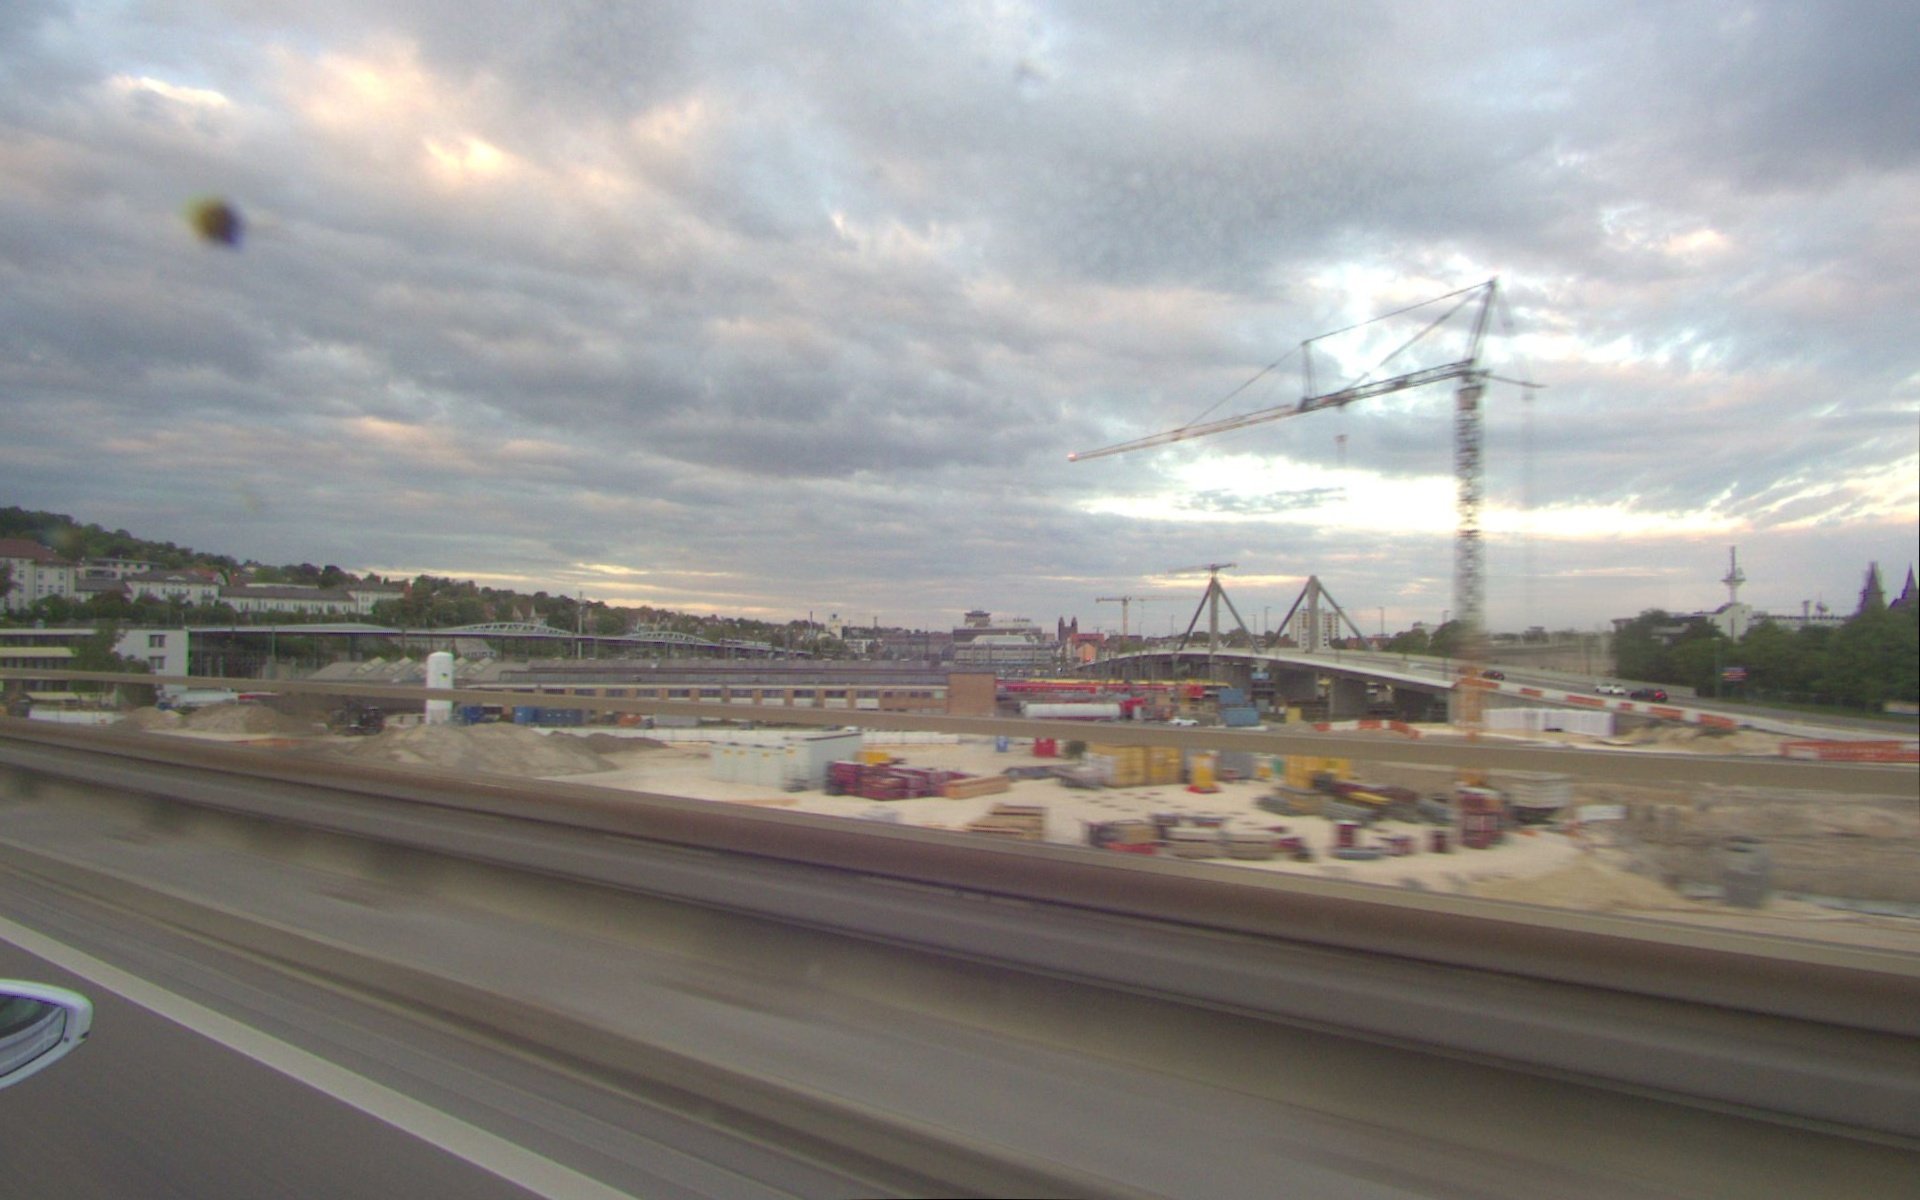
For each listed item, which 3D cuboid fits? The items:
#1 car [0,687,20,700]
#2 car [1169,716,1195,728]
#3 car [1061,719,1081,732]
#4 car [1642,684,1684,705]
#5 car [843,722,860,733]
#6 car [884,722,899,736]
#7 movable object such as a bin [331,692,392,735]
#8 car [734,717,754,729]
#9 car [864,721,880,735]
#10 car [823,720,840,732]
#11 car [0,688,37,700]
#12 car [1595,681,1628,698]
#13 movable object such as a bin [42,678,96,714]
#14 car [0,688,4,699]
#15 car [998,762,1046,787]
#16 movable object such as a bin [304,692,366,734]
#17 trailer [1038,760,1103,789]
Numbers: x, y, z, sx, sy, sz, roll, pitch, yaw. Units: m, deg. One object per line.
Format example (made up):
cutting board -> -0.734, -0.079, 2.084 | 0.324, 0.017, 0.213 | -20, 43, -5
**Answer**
car -> -133.661, 13.021, 139.483 | 1.797, 1.583, 4.005 | 5, -5, -4
car -> 33.702, 18.496, 151.922 | 3.619, 1.593, 1.440 | 5, -7, -11
car -> 15.189, 17.267, 137.550 | 1.835, 1.539, 4.348 | 0, -4, -6
car -> 85.318, 11.421, 121.542 | 1.962, 2.040, 3.998 | 5, 0, -6
car -> -14.869, 17.508, 137.392 | 1.835, 1.435, 4.009 | 4, -7, -2
car -> -9.383, 17.678, 137.224 | 1.835, 1.669, 4.009 | 4, -7, -2
movable object such as a bin -> -66.198, 12.609, 110.915 | 2.733, 4.356, 4.964 | 1, -7, 14
car -> -29.621, 16.926, 137.480 | 1.835, 1.435, 4.009 | 4, -7, -2
car -> -12.085, 17.557, 137.564 | 1.835, 1.733, 4.009 | 4, -7, -2
car -> -17.660, 17.289, 137.644 | 1.835, 1.435, 4.009 | 4, -7, -2
car -> -130.034, 12.979, 138.115 | 1.797, 1.583, 4.005 | 5, -5, -4
car -> 85.859, 11.784, 132.044 | 1.565, 1.761, 3.704 | 5, -1, -6
movable object such as a bin -> -117.548, 12.735, 132.166 | 4.867, 4.357, 2.787 | 1, -7, 17
car -> -136.783, 13.047, 140.344 | 1.797, 1.583, 4.005 | 5, -5, -4
car -> 4.419, 12.538, 71.931 | 1.510, 1.457, 3.779 | 8, -8, -31
movable object such as a bin -> -69.886, 12.646, 112.082 | 2.733, 4.356, 4.964 | 1, -7, 14
trailer -> 6.836, 10.830, 62.388 | 1.761, 1.256, 4.229 | 4, -4, -32
